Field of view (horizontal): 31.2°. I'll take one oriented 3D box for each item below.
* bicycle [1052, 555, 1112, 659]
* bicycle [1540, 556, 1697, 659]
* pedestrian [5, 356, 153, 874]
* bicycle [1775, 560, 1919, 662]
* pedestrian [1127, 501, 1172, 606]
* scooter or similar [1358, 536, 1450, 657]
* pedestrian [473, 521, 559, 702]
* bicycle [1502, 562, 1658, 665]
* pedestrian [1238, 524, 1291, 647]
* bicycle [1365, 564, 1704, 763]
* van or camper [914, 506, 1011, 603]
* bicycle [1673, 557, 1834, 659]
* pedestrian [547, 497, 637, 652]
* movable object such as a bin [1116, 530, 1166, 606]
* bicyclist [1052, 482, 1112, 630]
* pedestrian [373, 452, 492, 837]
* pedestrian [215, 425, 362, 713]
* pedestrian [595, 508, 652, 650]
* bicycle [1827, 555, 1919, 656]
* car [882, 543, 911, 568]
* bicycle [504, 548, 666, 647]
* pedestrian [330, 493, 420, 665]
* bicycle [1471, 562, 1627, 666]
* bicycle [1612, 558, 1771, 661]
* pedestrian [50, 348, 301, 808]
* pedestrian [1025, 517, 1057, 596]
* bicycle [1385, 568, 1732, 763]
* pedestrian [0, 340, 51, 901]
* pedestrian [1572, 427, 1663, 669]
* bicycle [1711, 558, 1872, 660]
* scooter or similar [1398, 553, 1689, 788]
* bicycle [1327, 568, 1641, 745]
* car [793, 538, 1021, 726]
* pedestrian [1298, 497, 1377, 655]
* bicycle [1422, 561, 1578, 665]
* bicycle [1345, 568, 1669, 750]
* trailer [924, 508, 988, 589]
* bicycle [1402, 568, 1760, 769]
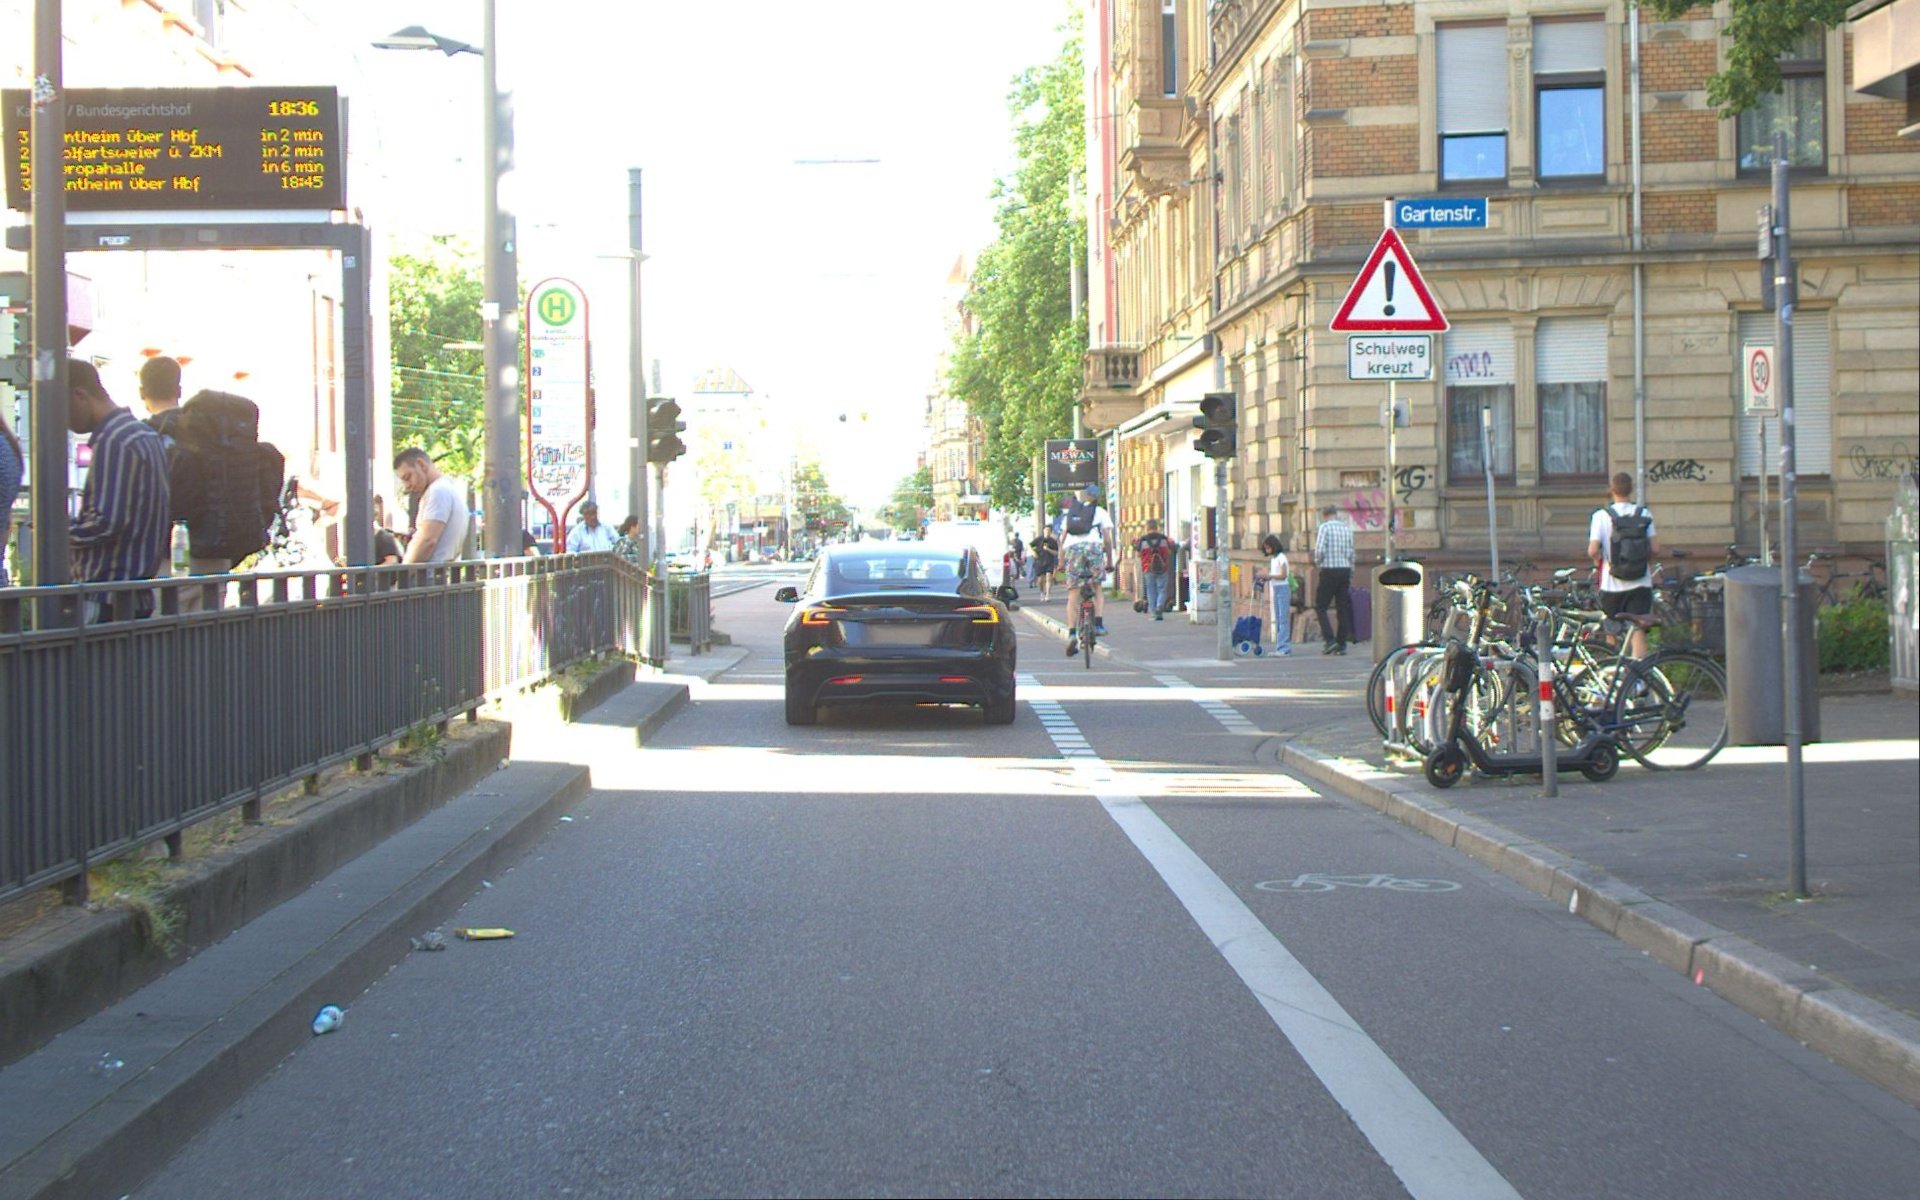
[{"bbox_3d":[1.379,0.061,38.670,0.647,1.135,2.095,0,1,3],"label":"bicycle"},{"bbox_3d":[7.328,0.075,38.346,0.443,1.111,1.814,-2,1,-42],"label":"bicycle"},{"bbox_3d":[-2.896,0.044,11.326,0.351,1.663,0.529,0,1,-2],"label":"pedestrian"},{"bbox_3d":[10.028,0.118,38.498,0.443,1.111,1.814,-2,1,-42],"label":"bicycle"},{"bbox_3d":[3.146,-0.781,57.095,0.470,1.722,0.586,0,2,35],"label":"pedestrian"},{"bbox_3d":[4.822,-0.055,37.401,0.390,1.285,1.523,-1,1,-17],"label":"scooter or similar"},{"bbox_3d":[-3.283,0.084,25.431,0.480,1.324,0.354,0,1,29],"label":"pedestrian"},{"bbox_3d":[6.866,0.142,38.140,0.443,1.111,1.814,-2,1,-42],"label":"bicycle"},{"bbox_3d":[3.567,-0.175,40.242,0.574,1.410,0.580,1,1,8],"label":"pedestrian"},{"bbox_3d":[3.521,0.380,21.147,1.945,1.162,0.628,-1,1,-3],"label":"bicycle"},{"bbox_3d":[0.014,-0.977,75.551,1.931,2.030,5.476,1,0,-2],"label":"van or camper"},{"bbox_3d":[8.820,0.080,38.276,0.443,1.111,1.814,-2,1,-42],"label":"bicycle"},{"bbox_3d":[-4.400,-0.308,41.158,0.594,1.815,0.940,2,1,32],"label":"pedestrian"},{"bbox_3d":[3.262,-0.579,62.095,0.775,1.343,1.299,-1,1,-3],"label":"movable object such as a bin"},{"bbox_3d":[1.372,-0.494,38.583,0.655,1.650,0.927,0,1,3],"label":"bicyclist"},{"bbox_3d":[-2.956,0.237,19.316,0.537,2.113,0.808,-1,1,-2],"label":"pedestrian"},{"bbox_3d":[-4.091,-0.193,20.983,0.763,1.728,0.590,-1,1,-1],"label":"pedestrian"},{"bbox_3d":[-3.826,-0.241,39.037,0.517,1.585,0.667,3,1,-11],"label":"pedestrian"},{"bbox_3d":[10.631,0.054,38.538,0.443,1.111,1.814,-2,1,-42],"label":"bicycle"},{"bbox_3d":[-3.643,-2.539,196.977,1.593,1.428,3.686,-1,1,0],"label":"car"},{"bbox_3d":[-4.498,-0.032,41.149,1.942,1.090,0.598,3,1,33],"label":"bicycle"},{"bbox_3d":[-5.747,-0.215,33.835,0.696,1.662,1.033,-1,1,-1],"label":"pedestrian"},{"bbox_3d":[6.477,0.140,37.873,0.443,1.111,1.814,-2,1,-41],"label":"bicycle"},{"bbox_3d":[8.119,0.093,38.206,0.443,1.111,1.814,-2,1,-42],"label":"bicycle"},{"bbox_3d":[-3.246,-0.089,14.195,0.770,1.825,0.804,1,0,-31],"label":"pedestrian"},{"bbox_3d":[1.861,-0.999,78.806,0.672,1.808,0.756,0,0,-2],"label":"pedestrian"},{"bbox_3d":[3.554,0.383,20.493,1.945,1.103,0.564,-1,1,-3],"label":"bicycle"},{"bbox_3d":[-3.060,0.056,10.345,0.493,1.643,0.590,0,1,-2],"label":"pedestrian"},{"bbox_3d":[5.470,-0.423,28.632,0.716,1.978,0.942,0,-1,10],"label":"pedestrian"},{"bbox_3d":[9.306,0.085,38.509,0.443,1.111,1.814,-2,1,-42],"label":"bicycle"},{"bbox_3d":[3.250,0.385,19.219,1.478,1.225,0.591,-2,1,-1],"label":"scooter or similar"},{"bbox_3d":[3.428,0.360,22.554,1.945,1.103,0.564,-1,1,-3],"label":"bicycle"},{"bbox_3d":[-0.477,0.209,28.003,1.719,1.400,3.710,1,1,-2],"label":"car"},{"bbox_3d":[4.368,-0.287,39.798,0.847,1.801,0.876,-1,2,4],"label":"pedestrian"},{"bbox_3d":[5.922,0.131,37.772,0.443,1.111,1.814,-2,1,-41],"label":"bicycle"},{"bbox_3d":[3.474,0.368,21.907,1.945,1.103,0.564,-1,1,-3],"label":"bicycle"},{"bbox_3d":[-0.090,-1.378,92.959,1.661,2.109,3.843,1,1,0],"label":"trailer"},{"bbox_3d":[3.581,0.388,19.879,1.945,1.103,0.564,-1,1,-3],"label":"bicycle"}]
